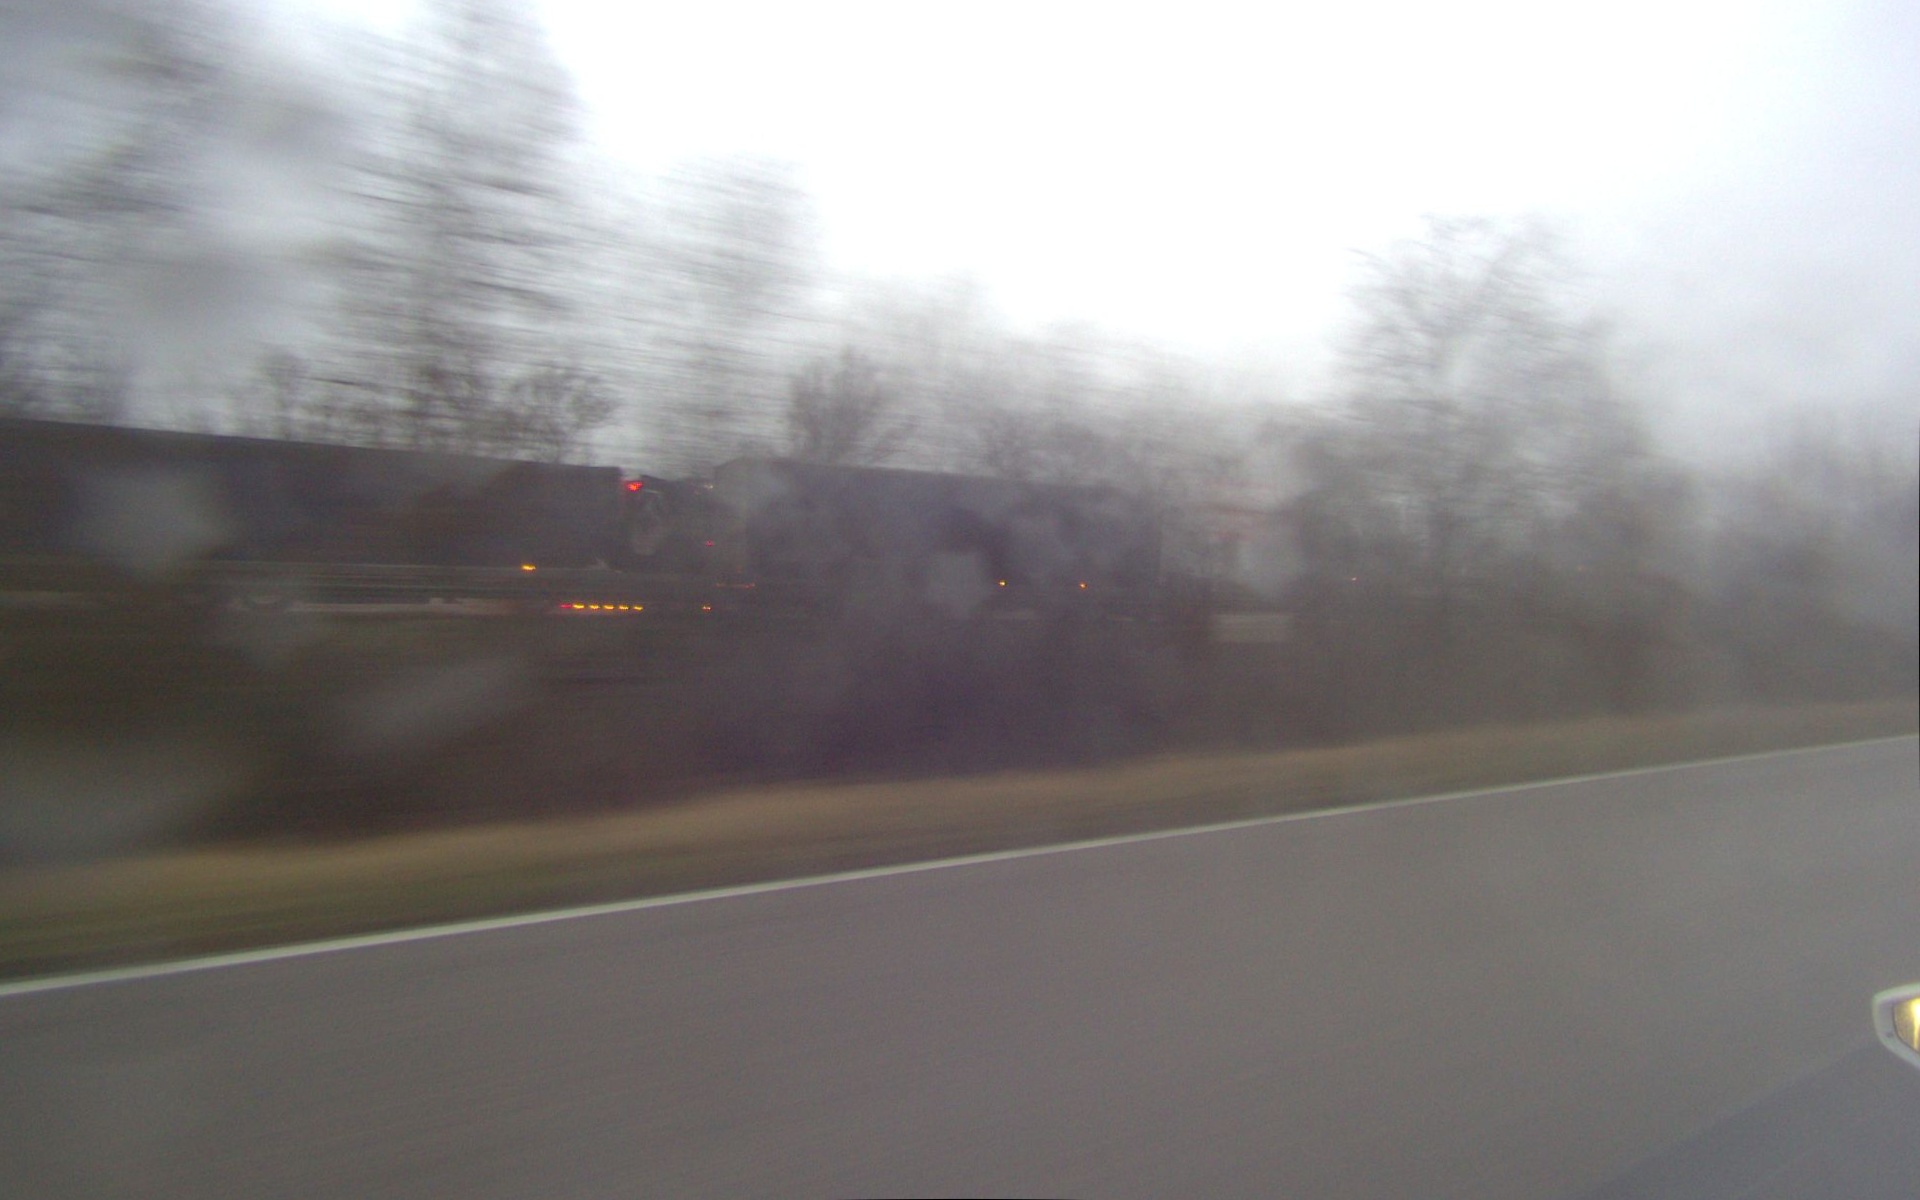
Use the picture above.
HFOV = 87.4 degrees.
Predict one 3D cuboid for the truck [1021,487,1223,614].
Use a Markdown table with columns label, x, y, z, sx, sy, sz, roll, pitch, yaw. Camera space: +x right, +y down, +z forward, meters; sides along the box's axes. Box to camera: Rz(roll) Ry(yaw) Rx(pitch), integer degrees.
| label | x | y | z | sx | sy | sz | roll | pitch | yaw |
| --- | --- | --- | --- | --- | --- | --- | --- | --- | --- |
| truck | 5.324 | -1.440 | 32.801 | 5.997 | 3.680 | 2.977 | 1 | -1 | -31 |

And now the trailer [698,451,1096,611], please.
| label | x | y | z | sx | sy | sz | roll | pitch | yaw |
| --- | --- | --- | --- | --- | --- | --- | --- | --- | --- |
| trailer | -1.473 | -1.640 | 28.697 | 11.256 | 3.682 | 2.983 | 2 | -1 | -31 |

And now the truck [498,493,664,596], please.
| label | x | y | z | sx | sy | sz | roll | pitch | yaw |
| --- | --- | --- | --- | --- | --- | --- | --- | --- | --- |
| truck | -10.571 | -1.440 | 27.994 | 3.953 | 2.468 | 2.518 | 2 | -2 | -30 |

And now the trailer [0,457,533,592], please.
| label | x | y | z | sx | sy | sz | roll | pitch | yaw |
| --- | --- | --- | --- | --- | --- | --- | --- | --- | --- |
| trailer | -16.657 | -1.614 | 24.390 | 11.367 | 2.456 | 2.497 | 2 | -2 | -30 |
